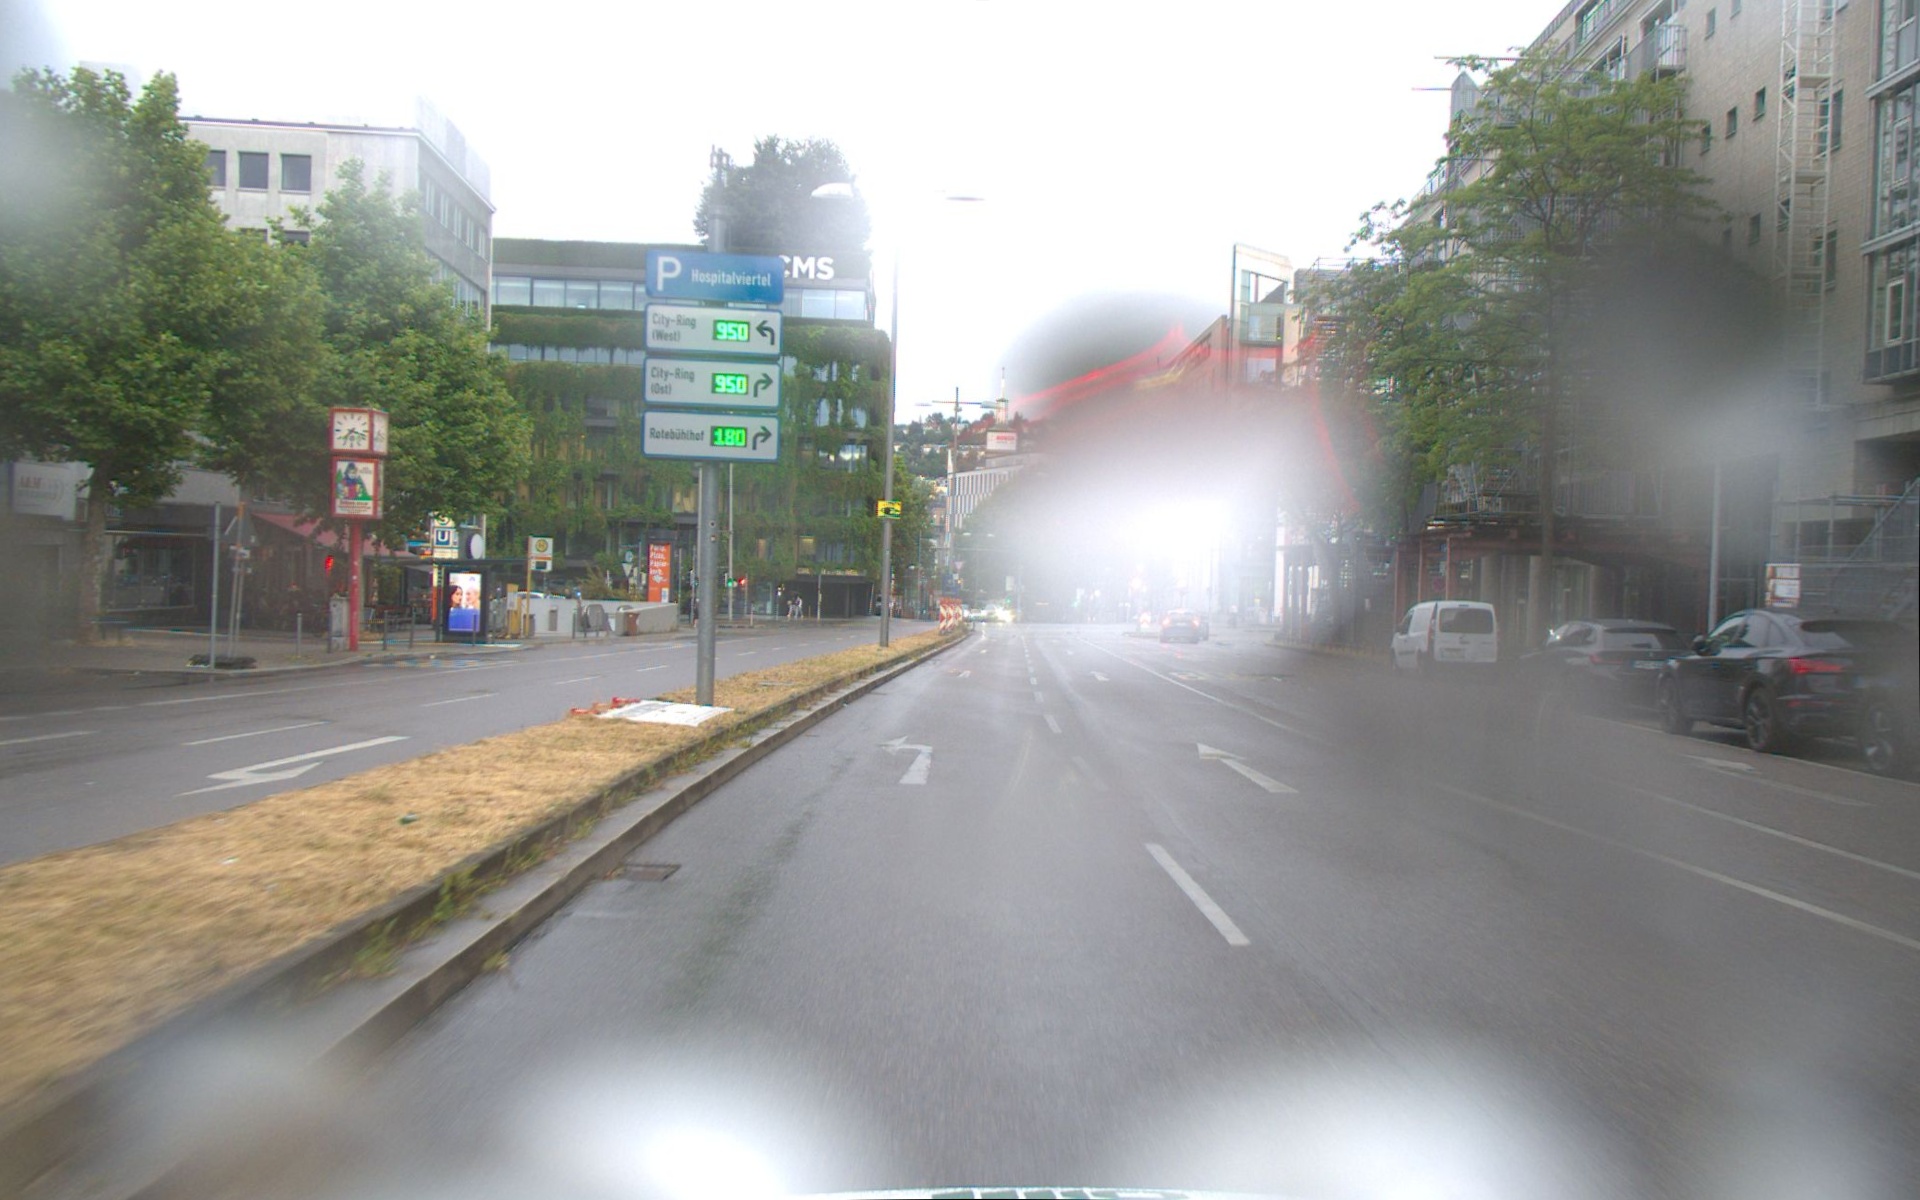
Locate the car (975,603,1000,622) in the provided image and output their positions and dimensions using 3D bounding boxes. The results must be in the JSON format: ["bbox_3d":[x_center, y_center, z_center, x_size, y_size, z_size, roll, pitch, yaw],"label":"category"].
[{"bbox_3d":[2.372,1.079,141.938,1.952,1.577,4.557,1,0,2],"label":"car"}]

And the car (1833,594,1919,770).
[{"bbox_3d":[9.791,0.776,14.651,1.823,1.629,4.594,1,0,2],"label":"car"}]

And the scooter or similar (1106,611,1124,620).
[{"bbox_3d":[15.206,1.552,162.672,1.718,0.894,0.487,1,-1,-17],"label":"scooter or similar"}]

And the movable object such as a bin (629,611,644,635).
[{"bbox_3d":[-12.431,0.880,63.503,0.521,0.913,0.681,-1,0,-7],"label":"movable object such as a bin"}]

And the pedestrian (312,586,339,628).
[{"bbox_3d":[-22.736,0.252,59.273,0.712,1.476,0.691,1,0,-5],"label":"pedestrian"}]

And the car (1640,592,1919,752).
[{"bbox_3d":[10.063,0.767,20.022,1.951,1.675,4.865,1,0,4],"label":"car"}]

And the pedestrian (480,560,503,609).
[{"bbox_3d":[-18.494,-0.611,65.275,0.675,1.918,0.758,1,0,-2],"label":"pedestrian"}]

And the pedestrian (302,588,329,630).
[{"bbox_3d":[-22.690,0.311,58.225,0.675,1.476,0.583,1,0,-1],"label":"pedestrian"}]

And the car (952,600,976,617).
[{"bbox_3d":[0.304,0.755,148.015,1.819,1.474,4.617,1,1,-4],"label":"car"}]

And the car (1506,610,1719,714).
[{"bbox_3d":[10.416,0.934,26.811,1.830,1.462,4.923,1,0,4],"label":"car"}]

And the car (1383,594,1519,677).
[{"bbox_3d":[11.356,0.788,38.541,1.952,1.780,4.528,1,0,2],"label":"car"}]

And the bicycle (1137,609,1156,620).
[{"bbox_3d":[16.576,1.329,147.223,1.769,0.950,0.472,1,0,44],"label":"bicycle"}]

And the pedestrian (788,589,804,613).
[{"bbox_3d":[-12.549,0.095,126.408,0.922,1.788,1.164,1,0,-21],"label":"pedestrian"}]

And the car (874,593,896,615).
[{"bbox_3d":[-6.853,0.379,152.254,1.953,1.928,4.463,1,0,-2],"label":"car"}]

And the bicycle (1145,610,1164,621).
[{"bbox_3d":[17.356,1.342,147.835,1.769,0.950,0.472,1,0,44],"label":"bicycle"}]

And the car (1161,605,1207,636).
[{"bbox_3d":[11.847,1.091,87.340,1.667,1.556,4.429,1,0,17],"label":"car"}]

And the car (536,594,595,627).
[{"bbox_3d":[-24.292,0.655,102.010,3.387,1.956,1.995,1,0,-11],"label":"car"}]

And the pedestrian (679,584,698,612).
[{"bbox_3d":[-15.827,-0.116,96.329,0.901,1.613,0.834,-3,0,-2],"label":"pedestrian"}]

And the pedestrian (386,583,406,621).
[{"bbox_3d":[-22.273,0.089,65.323,0.590,1.476,0.588,1,0,-3],"label":"pedestrian"}]

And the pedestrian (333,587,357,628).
[{"bbox_3d":[-22.532,0.261,60.645,0.620,1.476,0.691,1,0,-5],"label":"pedestrian"}]

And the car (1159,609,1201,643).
[{"bbox_3d":[10.643,1.233,80.136,1.741,1.567,4.149,1,0,4],"label":"car"}]

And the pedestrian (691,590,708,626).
[{"bbox_3d":[-14.440,0.435,91.664,0.789,1.918,0.865,-3,0,-4],"label":"pedestrian"}]

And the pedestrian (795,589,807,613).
[{"bbox_3d":[-12.164,0.091,126.512,0.730,1.788,0.970,1,0,-21],"label":"pedestrian"}]

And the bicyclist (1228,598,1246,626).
[{"bbox_3d":[20.517,0.872,122.480,0.785,2.009,1.099,1,-1,-38],"label":"bicyclist"}]

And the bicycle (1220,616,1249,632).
[{"bbox_3d":[20.348,1.742,122.673,0.786,1.136,2.225,1,0,-38],"label":"bicycle"}]

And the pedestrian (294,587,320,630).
[{"bbox_3d":[-22.736,0.281,57.583,0.675,1.476,0.547,1,0,-2],"label":"pedestrian"}]

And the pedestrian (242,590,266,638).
[{"bbox_3d":[-23.715,0.456,55.543,0.584,1.598,0.604,1,-1,-8],"label":"pedestrian"}]
